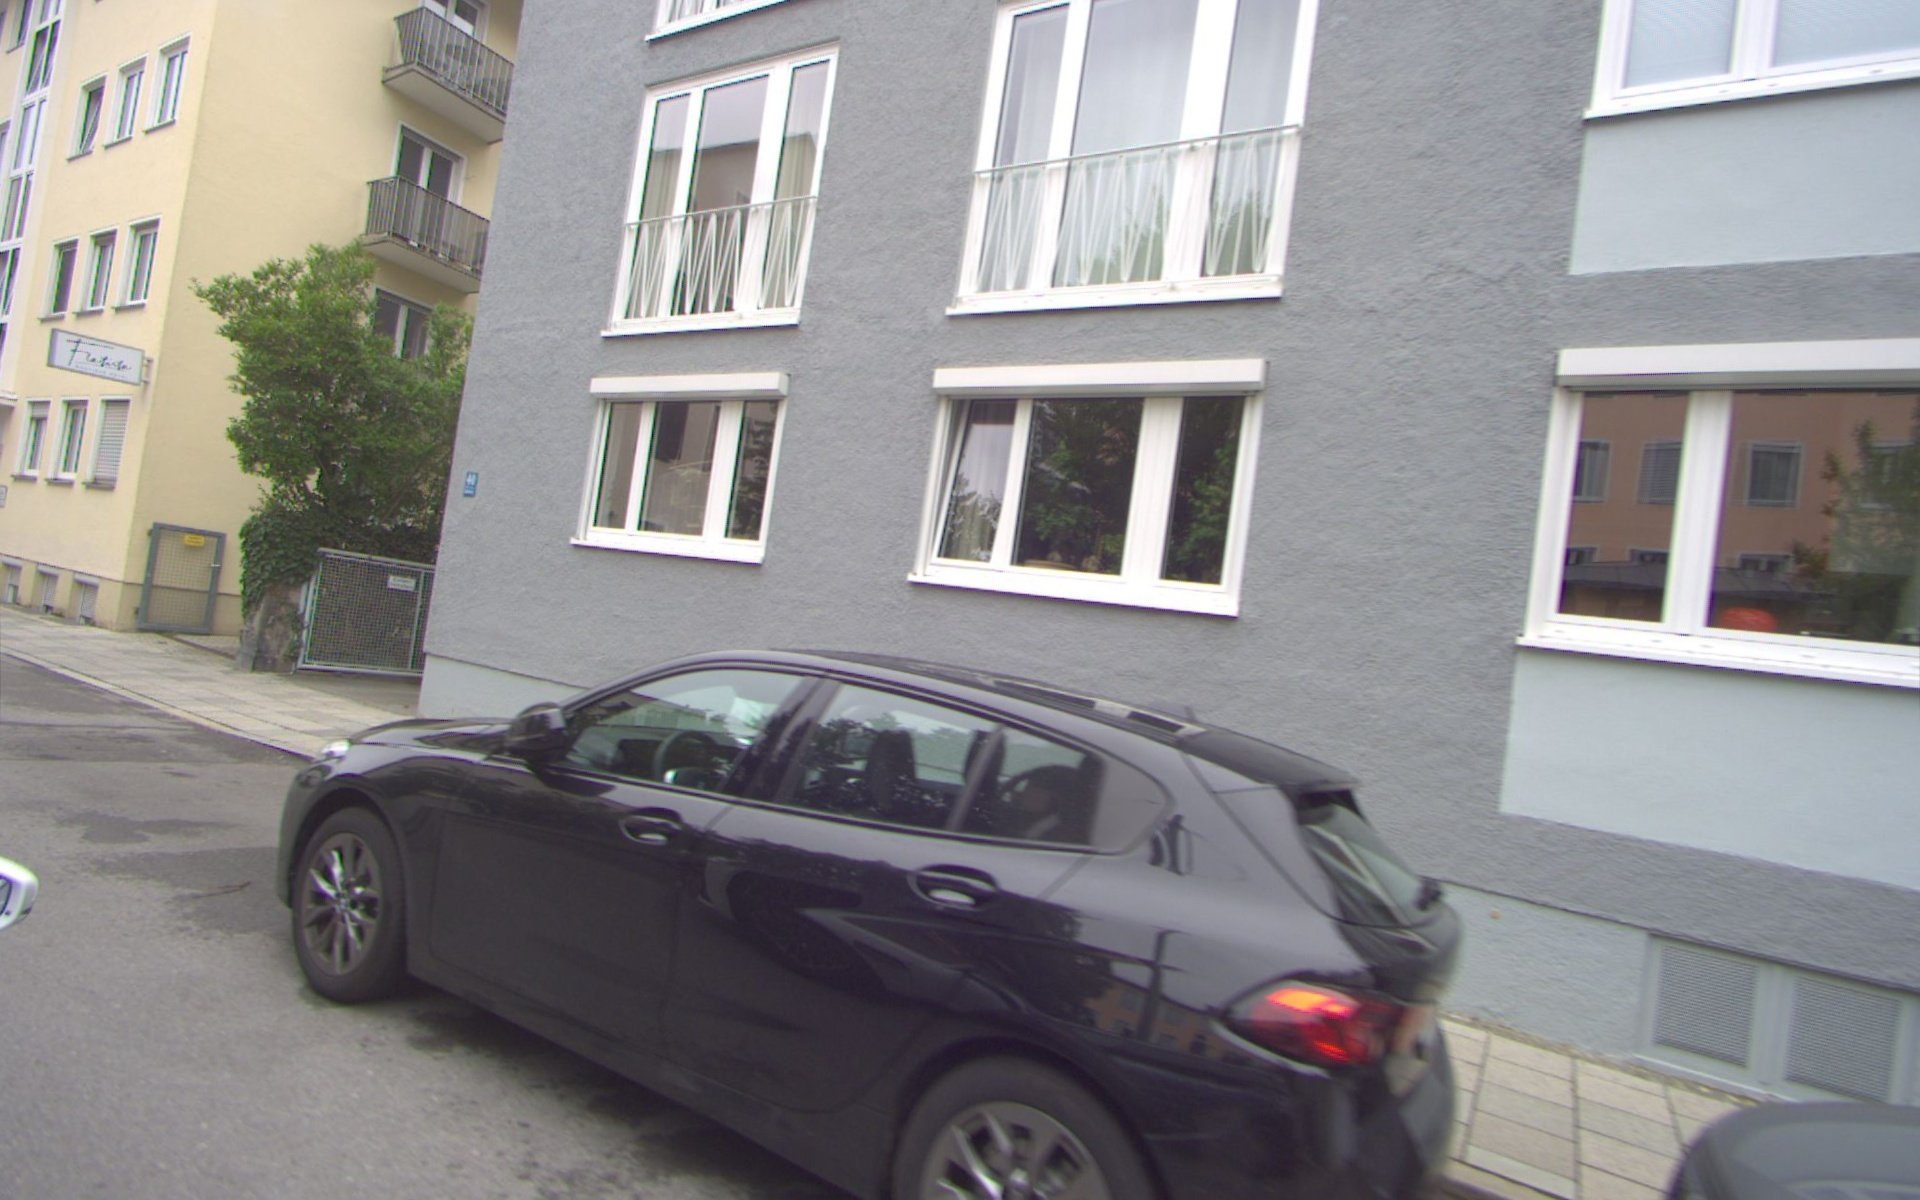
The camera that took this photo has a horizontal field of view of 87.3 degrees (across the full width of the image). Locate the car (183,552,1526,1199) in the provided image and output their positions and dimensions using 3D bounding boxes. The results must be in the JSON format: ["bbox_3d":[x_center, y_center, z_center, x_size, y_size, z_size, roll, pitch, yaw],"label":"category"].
[{"bbox_3d":[-0.516,0.902,3.515,4.192,1.442,1.849,7,-6,30],"label":"car"}]

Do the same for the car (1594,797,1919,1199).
[{"bbox_3d":[3.414,1.395,1.188,4.412,1.414,1.797,6,-7,33],"label":"car"}]
